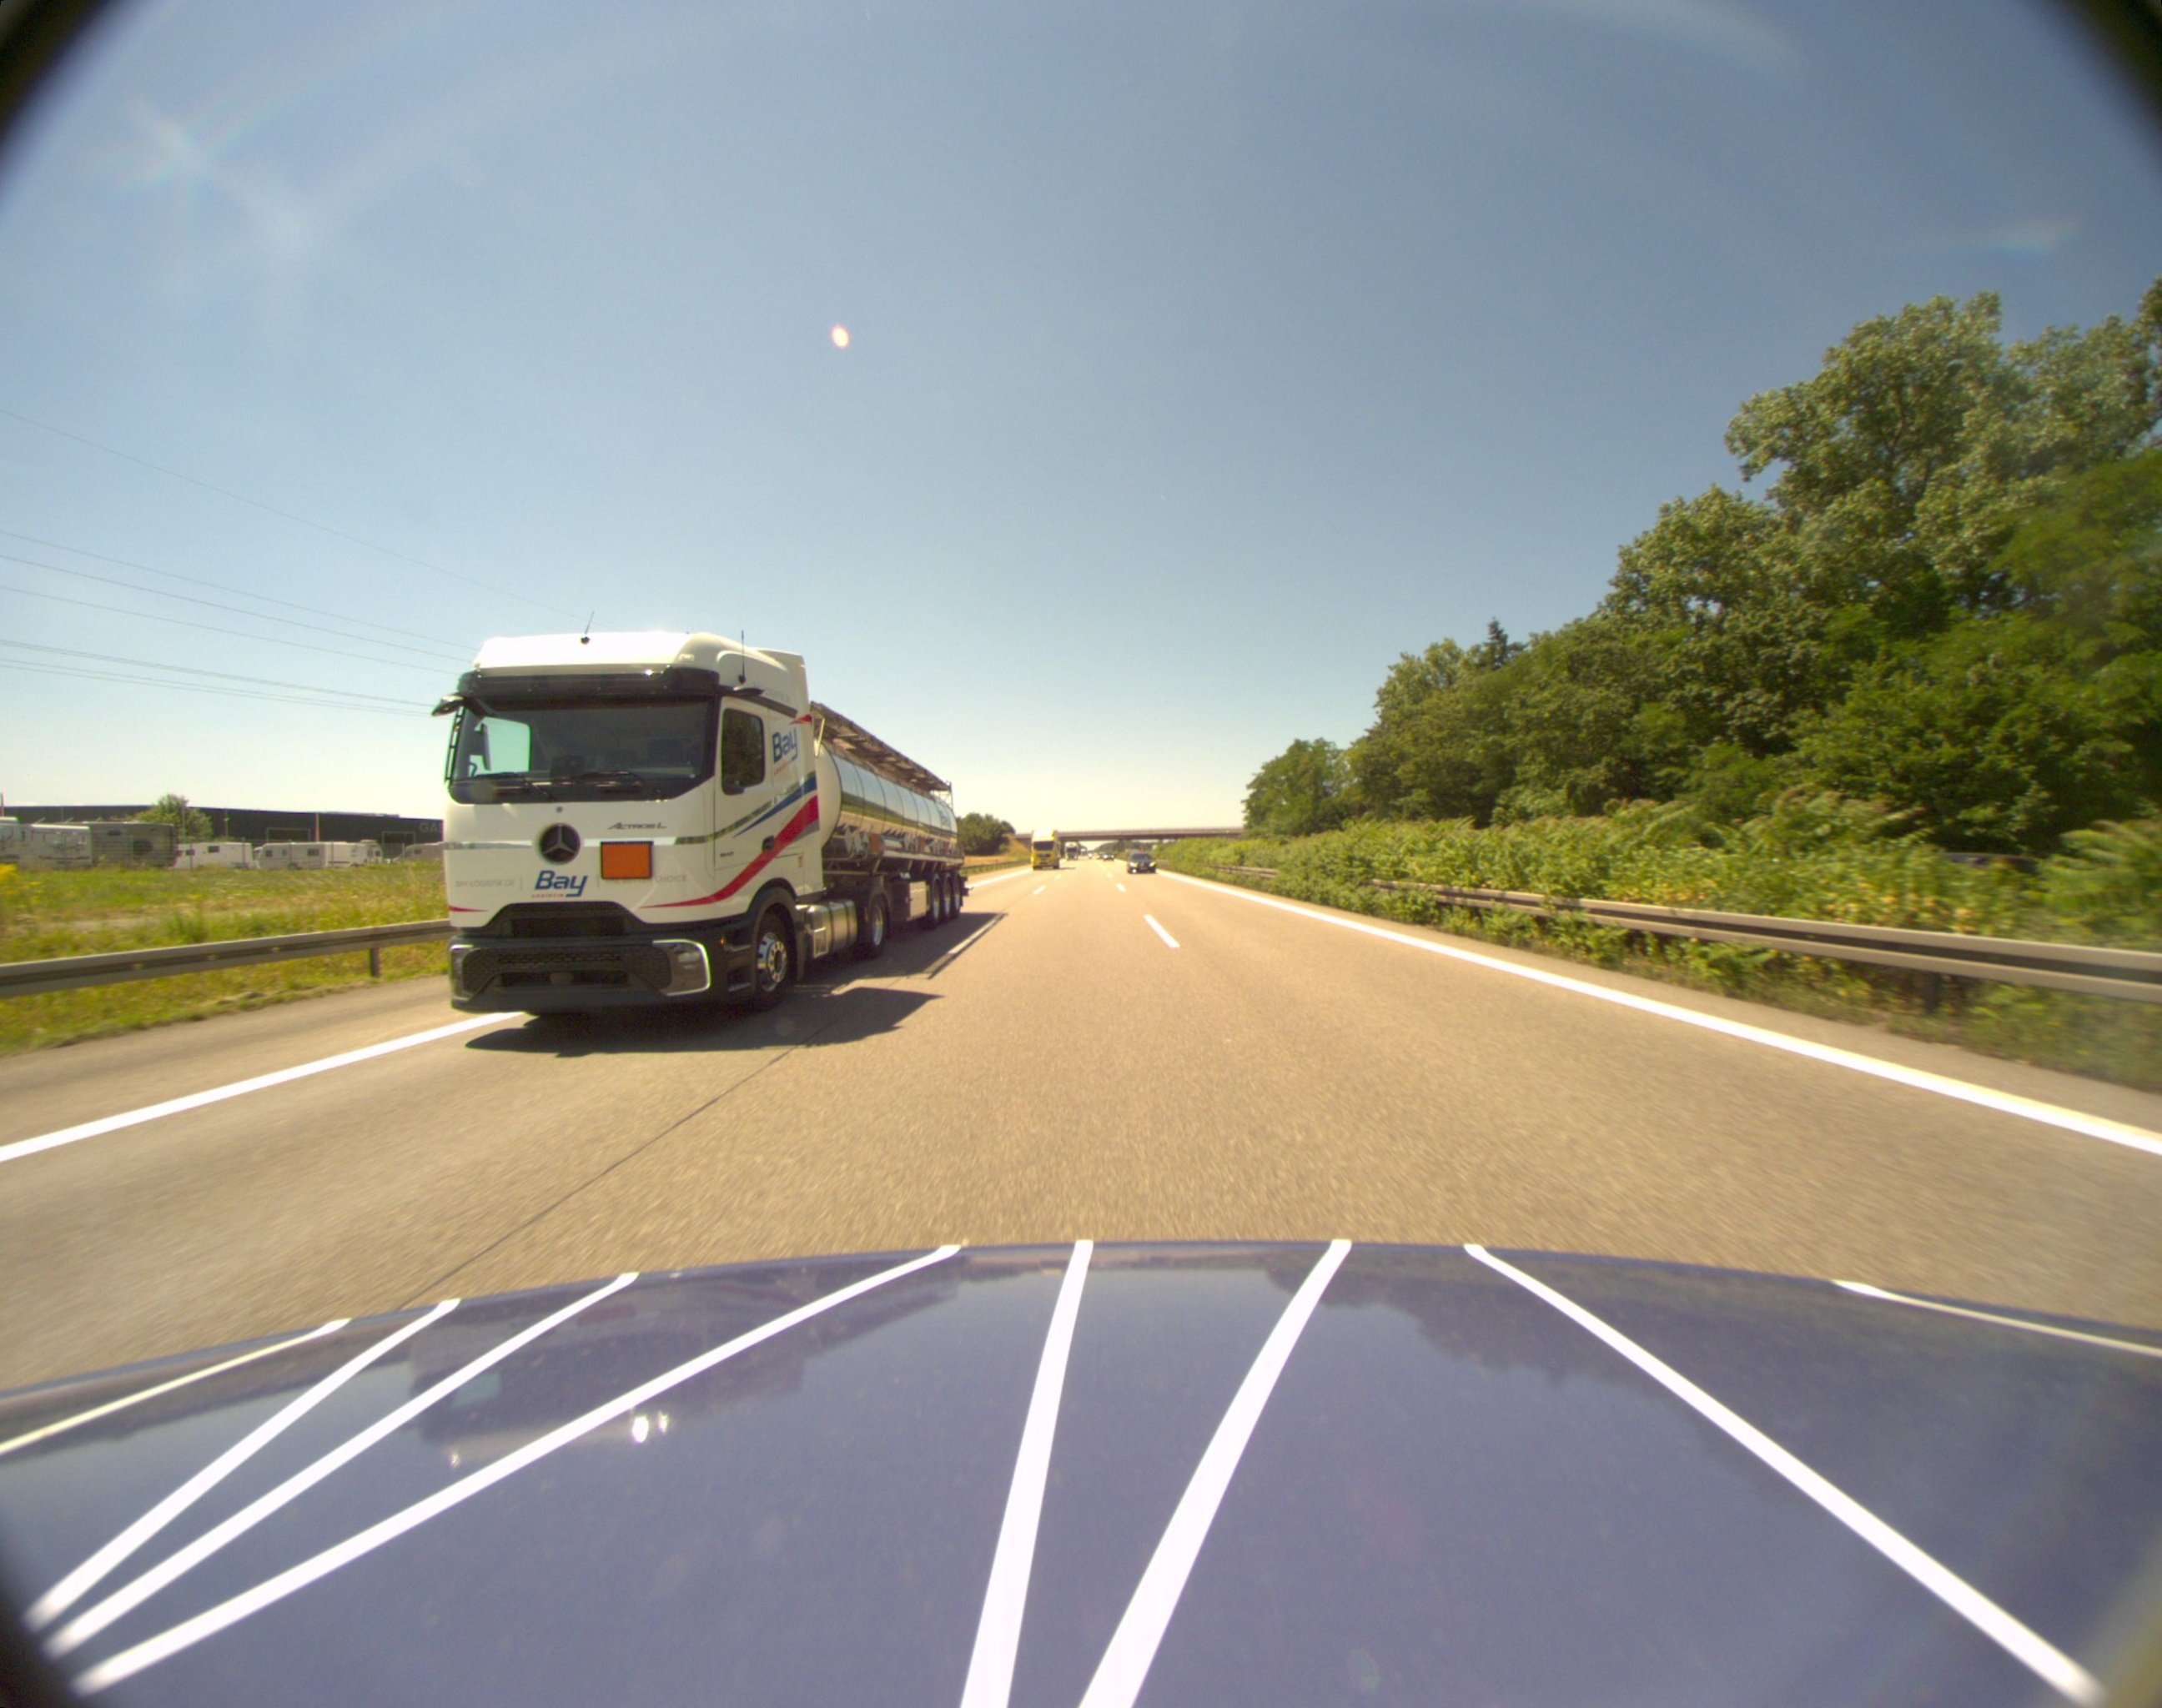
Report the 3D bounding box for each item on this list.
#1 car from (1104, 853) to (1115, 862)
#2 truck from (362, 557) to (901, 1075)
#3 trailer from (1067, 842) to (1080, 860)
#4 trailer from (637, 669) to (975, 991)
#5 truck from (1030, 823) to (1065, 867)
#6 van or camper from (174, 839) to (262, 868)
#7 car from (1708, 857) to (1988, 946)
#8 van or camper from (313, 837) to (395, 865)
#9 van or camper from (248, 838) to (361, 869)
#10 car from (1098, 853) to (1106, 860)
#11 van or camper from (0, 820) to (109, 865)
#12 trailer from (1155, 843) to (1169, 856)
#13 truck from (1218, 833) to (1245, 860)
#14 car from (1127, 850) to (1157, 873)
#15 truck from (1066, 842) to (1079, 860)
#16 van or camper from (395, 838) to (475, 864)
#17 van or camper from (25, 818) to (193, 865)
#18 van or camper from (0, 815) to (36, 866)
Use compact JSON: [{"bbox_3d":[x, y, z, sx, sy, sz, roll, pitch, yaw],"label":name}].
[{"bbox_3d":[4.977,0.619,133.262,1.811,1.417,4.000,-2,0,1],"label":"car"},{"bbox_3d":[-4.350,-0.300,9.284,2.579,4.048,6.392,-2,0,0],"label":"truck"},{"bbox_3d":[-1.778,-0.706,178.631,2.476,4.038,13.880,-2,0,1],"label":"trailer"},{"bbox_3d":[-4.314,-0.306,15.355,2.586,4.050,11.102,-2,0,0],"label":"trailer"},{"bbox_3d":[-3.354,-0.846,79.015,2.941,4.175,10.681,-2,0,0],"label":"truck"},{"bbox_3d":[-84.315,-0.048,74.331,5.273,2.749,2.615,0,0,-6],"label":"van or camper"},{"bbox_3d":[12.973,0.725,13.166,1.394,1.262,3.438,-2,0,1],"label":"car"},{"bbox_3d":[-69.919,-0.257,73.120,5.271,2.662,2.616,0,0,-1],"label":"van or camper"},{"bbox_3d":[-67.712,-0.041,66.365,6.367,2.662,3.325,0,0,0],"label":"van or camper"},{"bbox_3d":[4.812,0.523,172.664,1.811,1.417,4.000,-2,0,1],"label":"car"},{"bbox_3d":[-54.131,-0.551,38.669,6.131,2.207,2.602,0,0,2],"label":"van or camper"},{"bbox_3d":[24.138,-1.351,227.157,2.833,3.688,13.928,-2,0,1],"label":"trailer"},{"bbox_3d":[22.025,-1.081,111.542,2.597,3.684,6.828,-2,0,2],"label":"truck"},{"bbox_3d":[4.249,0.519,53.163,1.811,1.459,4.000,-2,0,1],"label":"car"},{"bbox_3d":[-1.879,-0.693,171.771,2.476,4.038,6.320,-2,0,1],"label":"truck"},{"bbox_3d":[-69.520,-0.333,81.857,6.462,2.751,2.422,0,0,-1],"label":"van or camper"},{"bbox_3d":[-53.831,-0.694,42.175,6.357,2.538,2.438,0,0,2],"label":"van or camper"},{"bbox_3d":[-53.997,-0.644,35.804,6.131,2.388,2.602,0,0,2],"label":"van or camper"}]
